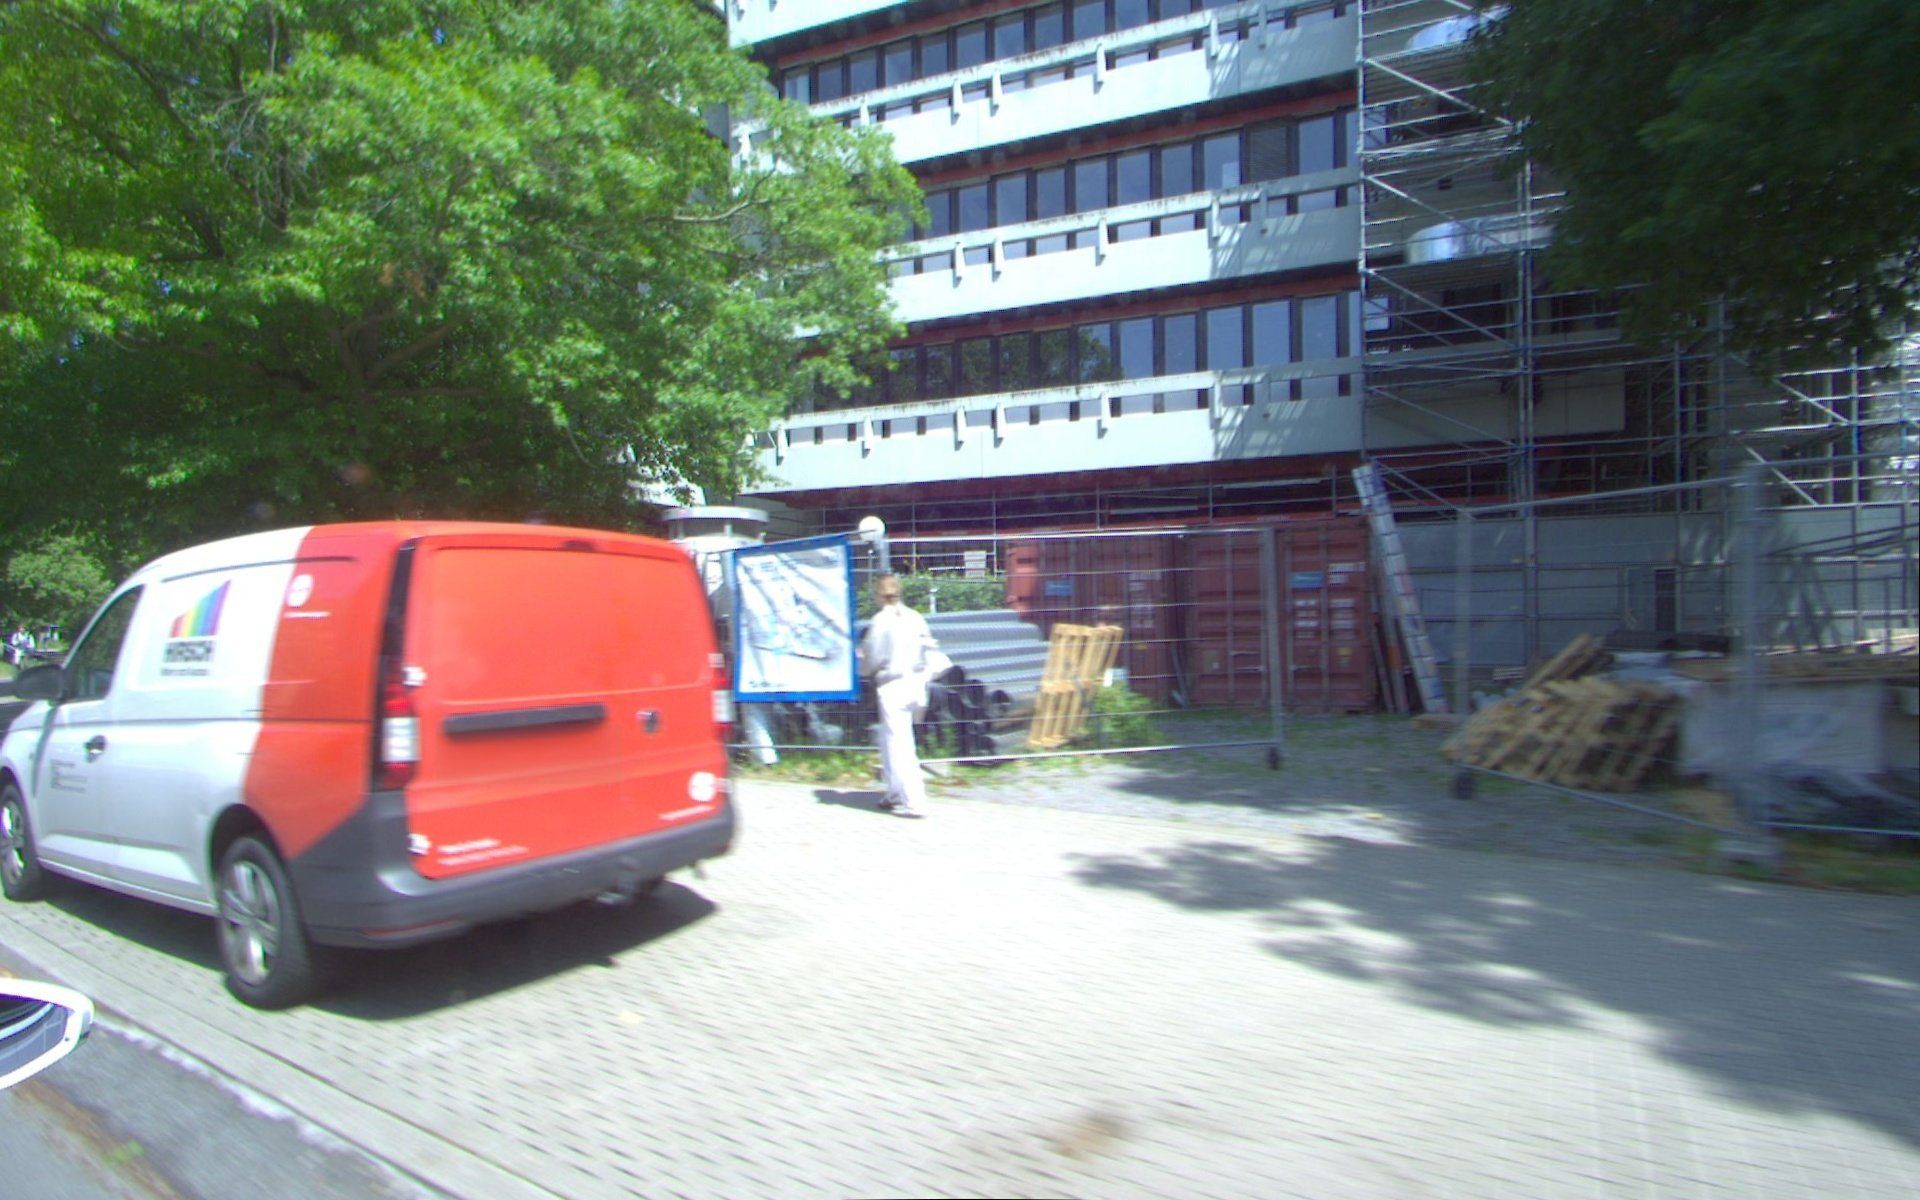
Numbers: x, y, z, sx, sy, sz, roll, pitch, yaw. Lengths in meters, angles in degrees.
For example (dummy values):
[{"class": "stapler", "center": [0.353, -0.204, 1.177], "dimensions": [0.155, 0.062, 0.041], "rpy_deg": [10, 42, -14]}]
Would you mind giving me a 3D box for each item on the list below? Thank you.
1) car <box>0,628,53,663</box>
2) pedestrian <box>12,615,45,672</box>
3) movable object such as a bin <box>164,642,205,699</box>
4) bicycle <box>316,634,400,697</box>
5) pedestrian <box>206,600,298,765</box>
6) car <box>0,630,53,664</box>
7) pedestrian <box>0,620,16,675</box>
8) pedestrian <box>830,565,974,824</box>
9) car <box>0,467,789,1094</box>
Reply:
[{"class": "car", "center": [-44.143, 2.098, 45.319], "dimensions": [1.792, 1.545, 4.457], "rpy_deg": [-1, 0, 45]}, {"class": "pedestrian", "center": [-31.284, 1.447, 33.635], "dimensions": [0.665, 1.897, 0.787], "rpy_deg": [-1, 0, -35]}, {"class": "movable object such as a bin", "center": [-15.162, 1.369, 19.578], "dimensions": [0.497, 1.086, 0.488], "rpy_deg": [-1, 0, 30]}, {"class": "bicycle", "center": [-11.426, 1.232, 18.985], "dimensions": [1.843, 1.133, 0.498], "rpy_deg": [-1, 0, 29]}, {"class": "pedestrian", "center": [-8.263, 0.938, 11.707], "dimensions": [0.618, 1.845, 0.723], "rpy_deg": [-1, 0, -13]}, {"class": "car", "center": [-47.332, 2.332, 49.001], "dimensions": [1.792, 1.609, 4.230], "rpy_deg": [-1, 0, 45]}, {"class": "pedestrian", "center": [-31.762, 1.567, 32.995], "dimensions": [0.813, 1.778, 0.835], "rpy_deg": [-1, 0, -36]}, {"class": "pedestrian", "center": [-0.388, 0.614, 6.869], "dimensions": [0.700, 1.653, 0.712], "rpy_deg": [-1, 0, 29]}, {"class": "car", "center": [-3.312, 0.595, 5.156], "dimensions": [4.822, 1.916, 1.844], "rpy_deg": [-1, 0, 33]}]
